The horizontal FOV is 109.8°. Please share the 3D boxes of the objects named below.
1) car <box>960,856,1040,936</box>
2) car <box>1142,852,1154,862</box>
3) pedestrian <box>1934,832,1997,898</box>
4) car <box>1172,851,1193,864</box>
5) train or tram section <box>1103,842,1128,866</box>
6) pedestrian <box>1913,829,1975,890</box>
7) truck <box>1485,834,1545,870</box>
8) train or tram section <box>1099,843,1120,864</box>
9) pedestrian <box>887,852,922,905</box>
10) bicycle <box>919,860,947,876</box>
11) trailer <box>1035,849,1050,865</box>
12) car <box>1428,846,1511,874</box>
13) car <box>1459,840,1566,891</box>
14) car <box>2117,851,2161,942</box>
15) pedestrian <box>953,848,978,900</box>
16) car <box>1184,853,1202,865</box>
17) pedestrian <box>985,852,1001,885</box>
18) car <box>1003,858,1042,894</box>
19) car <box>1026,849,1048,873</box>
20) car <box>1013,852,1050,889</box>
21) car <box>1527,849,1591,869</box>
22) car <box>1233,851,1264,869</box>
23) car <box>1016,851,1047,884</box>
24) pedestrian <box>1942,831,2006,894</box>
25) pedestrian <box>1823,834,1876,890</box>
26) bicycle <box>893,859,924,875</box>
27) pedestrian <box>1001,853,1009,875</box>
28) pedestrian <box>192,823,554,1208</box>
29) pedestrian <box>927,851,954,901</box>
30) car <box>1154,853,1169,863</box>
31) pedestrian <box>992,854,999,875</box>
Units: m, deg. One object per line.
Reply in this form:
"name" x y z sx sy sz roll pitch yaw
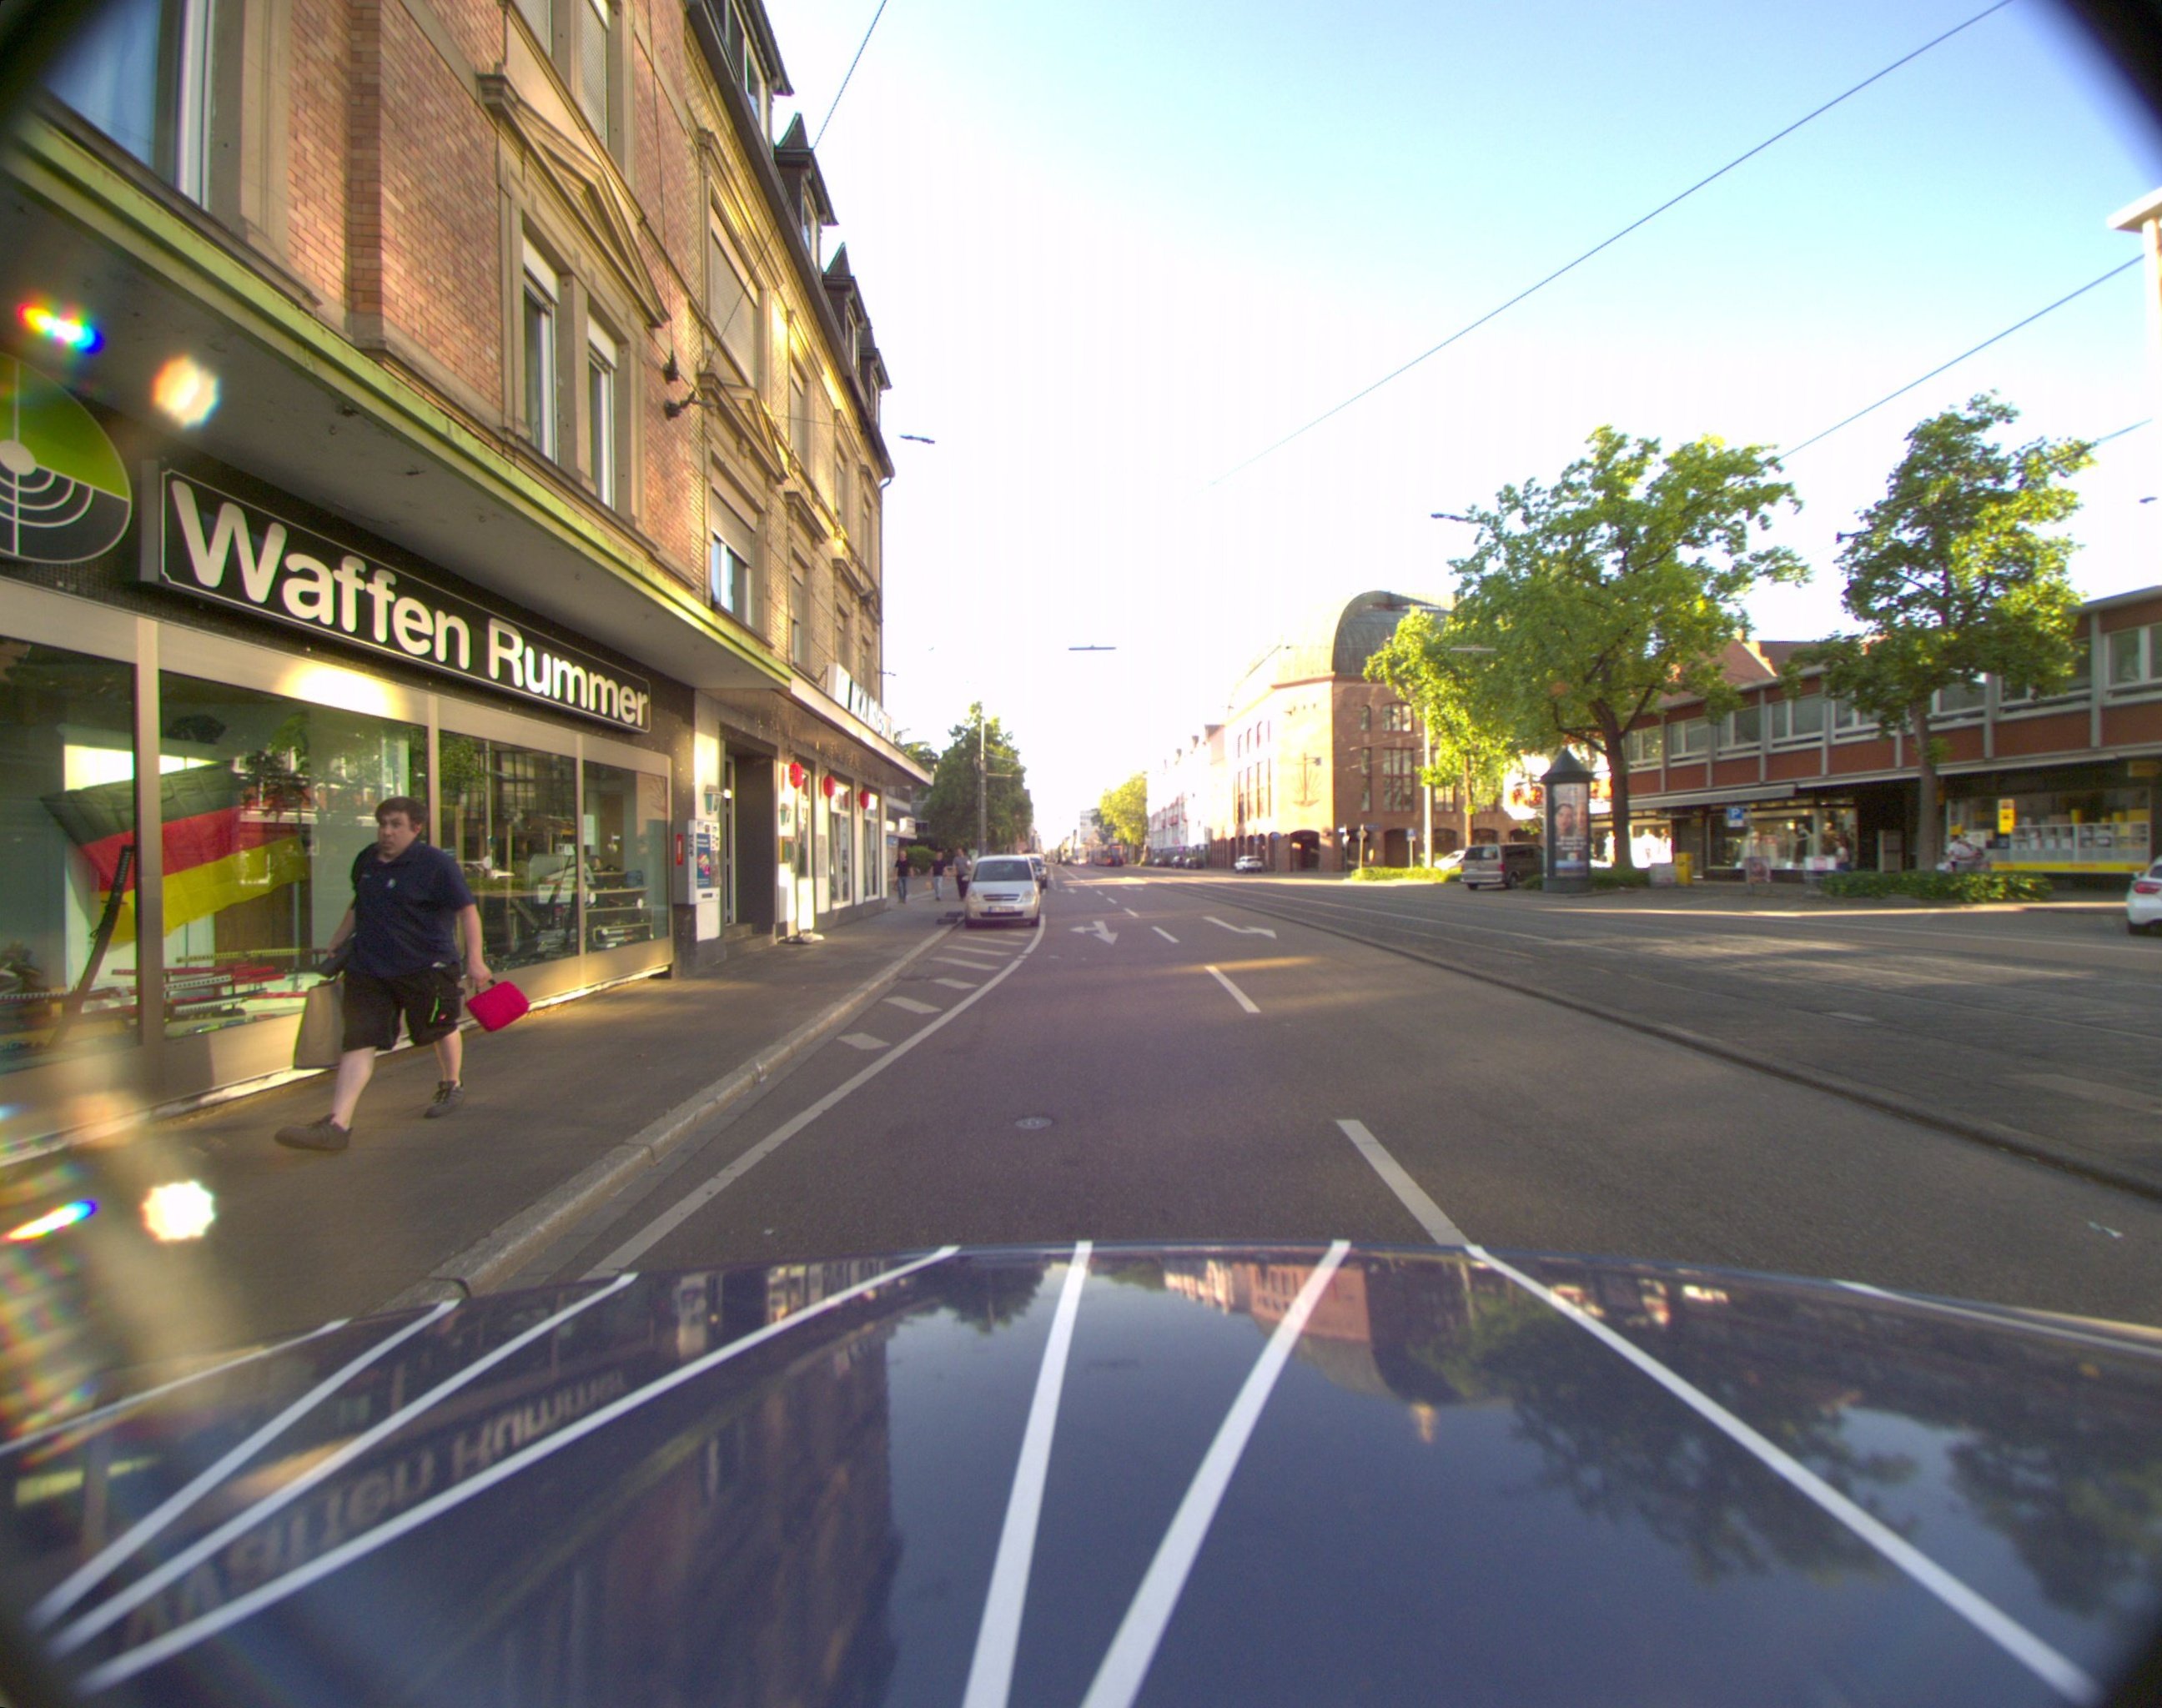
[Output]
"car" -1.829 0.888 17.934 1.642 1.605 3.943 -1 0 -4
"car" 12.208 0.561 138.958 1.931 1.787 4.383 0 0 1
"pedestrian" 25.757 0.303 22.152 0.917 1.867 0.902 0 1 26
"car" 13.921 0.495 104.073 1.964 1.690 4.559 -2 0 -4
"train or tram section" 5.241 -0.033 116.818 2.683 3.530 12.837 0 0 -3
"pedestrian" 28.104 0.171 24.757 0.996 1.937 0.900 -1 1 -5
"truck" 34.368 -0.140 60.337 1.856 2.747 4.528 -1 0 -7
"train or tram section" 4.698 -0.112 128.853 2.683 3.530 11.123 0 0 -3
"pedestrian" -5.859 0.796 25.294 0.903 1.703 1.032 2 0 -3
"bicycle" -10.392 0.992 53.442 1.886 1.090 0.469 0 1 -4
"trailer" -5.217 0.396 104.089 1.784 2.136 5.315 -2 0 0
"car" 28.536 0.417 55.928 4.993 1.957 2.130 -1 3 -4
"car" 18.597 0.433 32.642 5.130 1.918 1.849 -3 2 -34
"car" 20.620 0.723 13.887 4.276 1.421 1.762 -3 1 -33
"pedestrian" -4.230 0.713 27.850 0.796 1.888 1.032 0 1 -3
"car" 14.392 0.650 97.474 1.646 1.392 3.682 -2 0 -2
"pedestrian" -4.723 0.773 40.982 0.789 1.728 0.945 -1 1 -3
"car" -2.682 0.970 35.163 1.642 1.484 3.793 -3 0 -4
"car" -4.032 0.622 69.749 1.882 2.009 4.904 -2 0 -2
"car" -2.589 0.816 40.343 1.825 1.747 4.473 -2 1 -3
"car" 38.036 0.380 60.583 1.856 1.564 4.528 -1 0 -7
"car" 15.497 0.565 70.649 1.600 1.581 4.276 -3 0 -4
"car" -2.911 0.755 45.087 1.680 1.797 4.247 -2 0 -3
"pedestrian" 27.166 0.264 23.126 0.919 1.867 0.899 -1 1 -6
"pedestrian" 26.518 0.268 26.238 0.919 1.867 0.900 -1 1 -5
"bicycle" -11.934 0.906 52.533 2.020 1.089 0.637 1 0 -9
"pedestrian" -6.005 0.811 60.080 0.494 1.703 0.437 2 1 -3
"pedestrian" -3.649 0.750 4.056 0.949 1.782 1.054 1 1 -3
"pedestrian" -5.076 0.780 27.531 0.813 1.746 1.032 0 1 -3
"car" 13.044 0.607 123.132 1.829 1.500 4.559 -2 0 -2
"pedestrian" -6.779 0.834 60.122 0.494 1.703 0.437 2 1 -3
